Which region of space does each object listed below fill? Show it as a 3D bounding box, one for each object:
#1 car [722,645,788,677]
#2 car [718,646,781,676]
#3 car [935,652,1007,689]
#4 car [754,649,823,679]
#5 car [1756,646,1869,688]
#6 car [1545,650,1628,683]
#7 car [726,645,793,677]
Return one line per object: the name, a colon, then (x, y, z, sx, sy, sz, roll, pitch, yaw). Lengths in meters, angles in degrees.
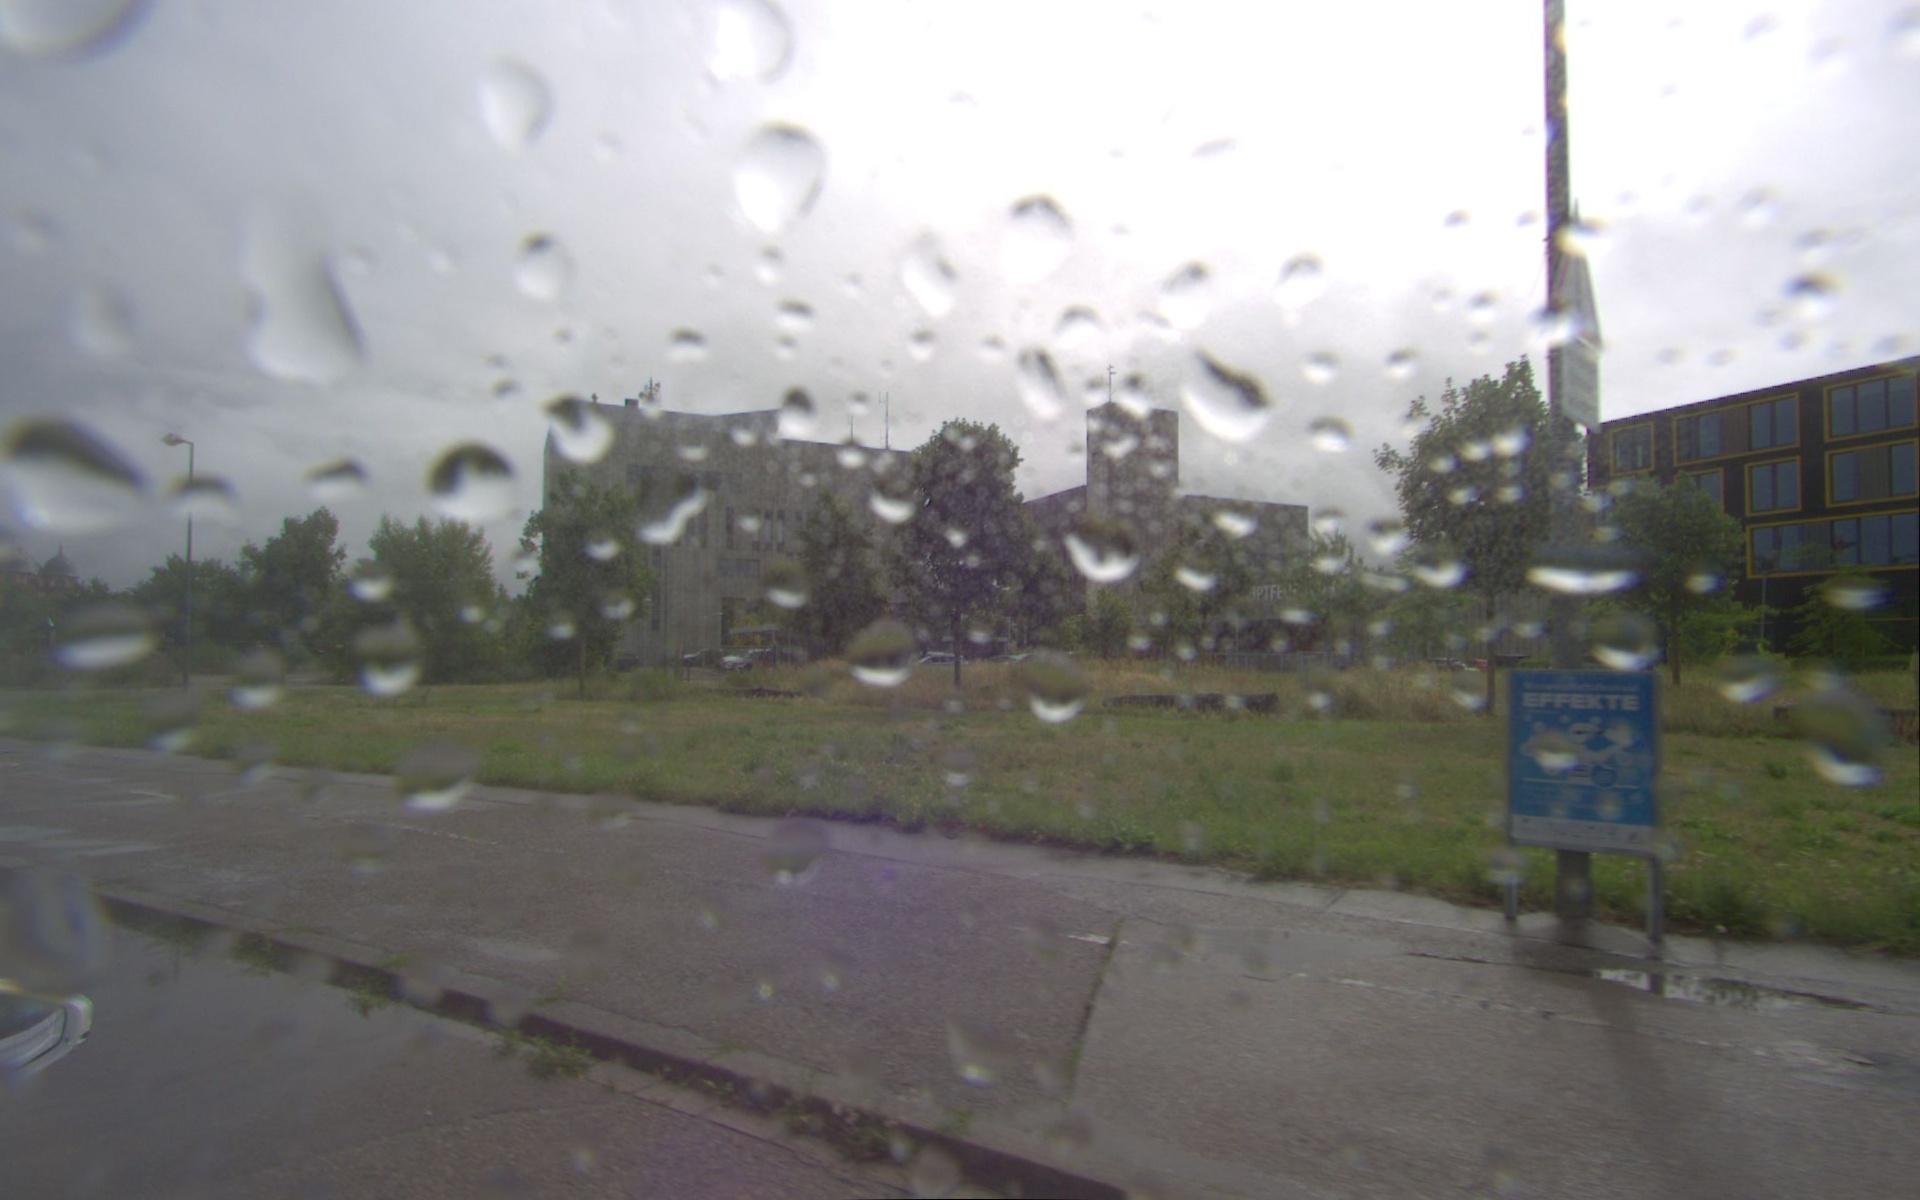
car: (-15.022, 4.482, 73.395, 4.317, 1.994, 1.996, 5, -4, -21)
car: (-16.054, 4.656, 76.379, 4.317, 2.002, 1.996, 5, -4, -21)
car: (0.603, 3.965, 56.266, 3.643, 2.038, 1.999, 1, -3, -16)
car: (-11.275, 4.201, 65.723, 4.103, 1.741, 1.815, 5, -4, -22)
car: (37.849, 2.969, 44.457, 4.483, 1.783, 1.995, 1, -3, -22)
car: (33.494, 3.547, 53.520, 3.934, 1.742, 1.765, 2, -3, -22)
car: (-14.299, 4.340, 71.323, 4.317, 1.980, 1.996, 5, -4, -21)
